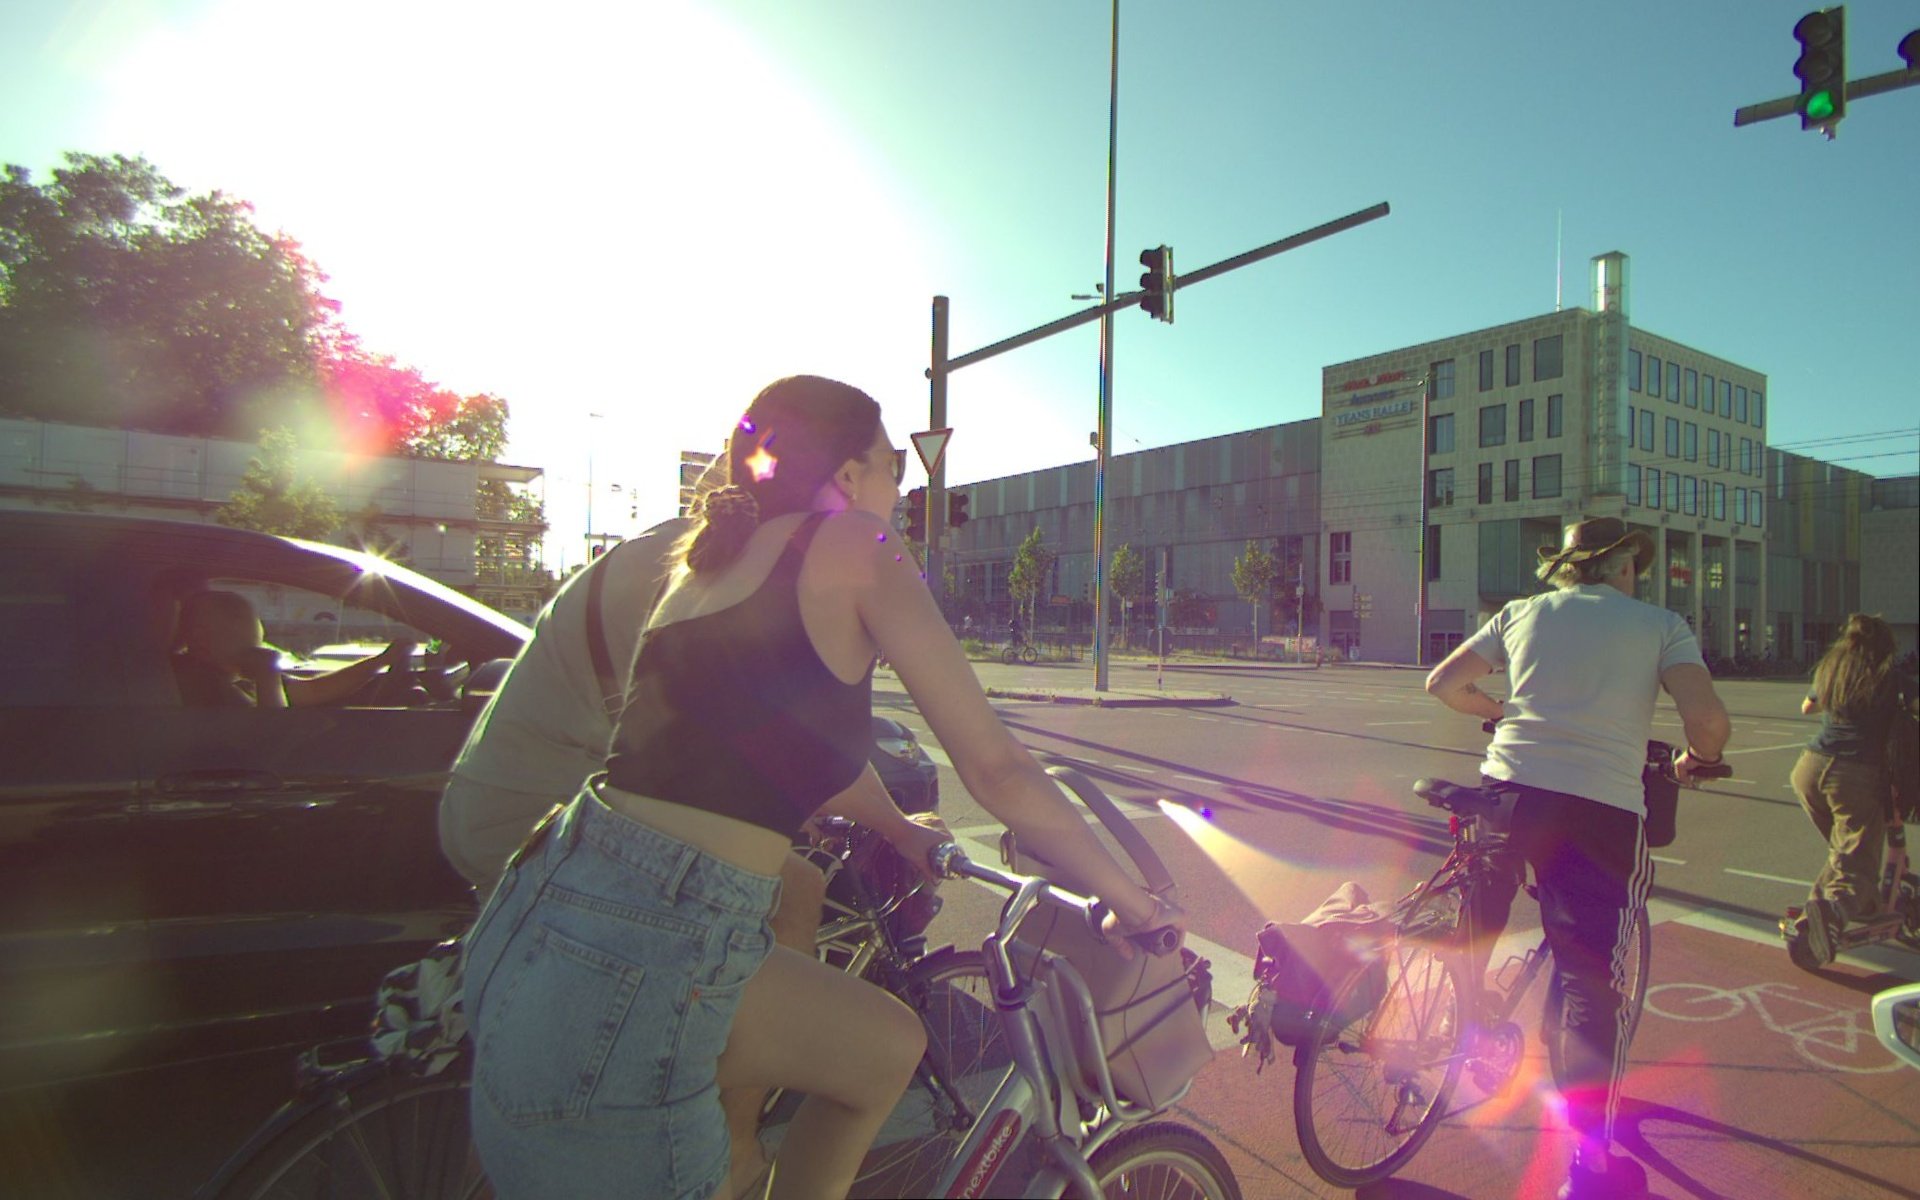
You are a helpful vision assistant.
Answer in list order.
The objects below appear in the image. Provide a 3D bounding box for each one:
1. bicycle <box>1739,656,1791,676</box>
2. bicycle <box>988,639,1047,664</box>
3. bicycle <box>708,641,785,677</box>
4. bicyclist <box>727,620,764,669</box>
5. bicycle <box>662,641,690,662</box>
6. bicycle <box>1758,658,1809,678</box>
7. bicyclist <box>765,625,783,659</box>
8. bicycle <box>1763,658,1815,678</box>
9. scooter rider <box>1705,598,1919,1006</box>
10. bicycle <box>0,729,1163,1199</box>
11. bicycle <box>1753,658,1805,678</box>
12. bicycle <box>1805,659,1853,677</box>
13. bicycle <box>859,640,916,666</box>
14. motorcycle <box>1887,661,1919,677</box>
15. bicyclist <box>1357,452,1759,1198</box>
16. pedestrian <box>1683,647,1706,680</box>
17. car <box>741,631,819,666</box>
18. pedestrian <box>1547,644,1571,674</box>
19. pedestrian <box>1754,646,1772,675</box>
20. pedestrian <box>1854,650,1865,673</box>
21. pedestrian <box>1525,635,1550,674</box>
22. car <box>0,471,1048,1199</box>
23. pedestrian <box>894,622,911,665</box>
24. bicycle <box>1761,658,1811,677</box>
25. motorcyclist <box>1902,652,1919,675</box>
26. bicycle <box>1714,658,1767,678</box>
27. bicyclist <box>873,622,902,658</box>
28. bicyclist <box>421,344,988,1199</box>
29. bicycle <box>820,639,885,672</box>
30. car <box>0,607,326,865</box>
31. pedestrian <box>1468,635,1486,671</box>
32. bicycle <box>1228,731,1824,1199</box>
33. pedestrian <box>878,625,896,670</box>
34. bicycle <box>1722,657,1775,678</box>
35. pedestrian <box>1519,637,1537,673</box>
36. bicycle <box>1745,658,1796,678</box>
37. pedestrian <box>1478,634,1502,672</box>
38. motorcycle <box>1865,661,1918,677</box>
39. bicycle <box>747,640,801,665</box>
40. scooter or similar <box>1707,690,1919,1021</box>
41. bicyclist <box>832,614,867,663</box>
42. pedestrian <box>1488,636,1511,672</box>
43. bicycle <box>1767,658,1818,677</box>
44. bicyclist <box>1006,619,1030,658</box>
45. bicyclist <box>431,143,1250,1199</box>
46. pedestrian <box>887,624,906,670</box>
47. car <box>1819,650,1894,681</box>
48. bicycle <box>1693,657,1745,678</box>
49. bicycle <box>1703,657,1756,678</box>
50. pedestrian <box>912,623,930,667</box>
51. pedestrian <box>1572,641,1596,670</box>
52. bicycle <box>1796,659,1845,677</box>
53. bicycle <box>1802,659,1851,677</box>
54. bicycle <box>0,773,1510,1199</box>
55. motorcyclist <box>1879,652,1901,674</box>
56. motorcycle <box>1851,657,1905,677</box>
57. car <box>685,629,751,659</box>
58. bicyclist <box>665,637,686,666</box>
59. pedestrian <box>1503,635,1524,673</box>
[{"bbox_3d":[49.289,4.054,61.541,0.675,1.125,2.458,2,-2,-28],"label":"bicycle"},{"bbox_3d":[2.290,2.043,39.821,2.370,0.953,0.749,2,-2,-34],"label":"bicycle"},{"bbox_3d":[-6.259,1.728,29.497,2.053,0.991,0.799,1,-1,-31],"label":"bicycle"},{"bbox_3d":[-6.296,1.295,29.494,0.833,1.420,0.799,1,-1,-31],"label":"bicyclist"},{"bbox_3d":[-13.223,2.384,46.710,0.796,0.939,2.061,1,-1,-29],"label":"bicycle"},{"bbox_3d":[52.148,4.293,63.636,0.675,1.125,2.458,2,-2,-28],"label":"bicycle"},{"bbox_3d":[-7.197,1.605,38.772,0.627,1.287,0.803,1,-1,-14],"label":"bicyclist"},{"bbox_3d":[52.858,4.324,64.071,0.824,1.125,2.458,2,-2,-28],"label":"bicycle"},{"bbox_3d":[3.912,0.792,4.428,1.105,1.564,0.638,2,-1,-33],"label":"scooter rider"},{"bbox_3d":[-0.507,0.871,1.896,1.795,1.131,0.620,2,-2,-31],"label":"bicycle"},{"bbox_3d":[51.517,4.272,63.193,0.675,1.125,2.458,2,-2,-28],"label":"bicycle"},{"bbox_3d":[59.209,4.626,68.453,0.623,1.125,2.458,2,-2,-28],"label":"bicycle"},{"bbox_3d":[-2.800,2.042,38.668,2.052,0.939,0.799,1,-1,-30],"label":"bicycle"},{"bbox_3d":[69.695,5.053,73.454,0.908,1.009,2.649,2,0,-36],"label":"motorcycle"},{"bbox_3d":[1.652,0.524,2.796,0.778,1.691,0.695,2,-2,-33],"label":"bicyclist"},{"bbox_3d":[39.792,3.439,54.425,0.748,1.763,0.746,2,-1,-32],"label":"pedestrian"},{"bbox_3d":[-7.979,2.085,44.221,1.979,1.394,3.962,1,-1,-34],"label":"car"},{"bbox_3d":[34.317,3.384,57.554,0.987,1.672,0.949,1,-1,16],"label":"pedestrian"},{"bbox_3d":[56.033,4.225,70.117,0.933,2.008,1.004,1,-1,36],"label":"pedestrian"},{"bbox_3d":[79.056,5.399,88.283,0.475,2.040,0.610,2,0,-44],"label":"pedestrian"},{"bbox_3d":[32.908,3.110,57.269,1.042,2.157,1.098,1,-1,19],"label":"pedestrian"},{"bbox_3d":[-2.240,0.585,3.506,4.740,1.684,2.182,2,-2,-33],"label":"car"},{"bbox_3d":[-2.120,1.593,36.959,0.446,1.587,0.516,1,-1,-30],"label":"pedestrian"},{"bbox_3d":[53.406,4.361,64.997,0.675,1.125,2.458,2,-2,-28],"label":"bicycle"},{"bbox_3d":[69.733,4.622,73.441,0.908,1.596,1.129,2,0,-36],"label":"motorcyclist"},{"bbox_3d":[46.954,4.067,60.458,0.675,1.125,2.459,2,-2,-27],"label":"bicycle"},{"bbox_3d":[-2.802,1.539,38.674,0.831,1.374,0.799,1,-1,-29],"label":"bicyclist"},{"bbox_3d":[-0.495,0.450,1.917,0.884,1.595,0.620,2,-2,-31],"label":"bicyclist"},{"bbox_3d":[-3.446,1.763,32.236,1.952,1.010,0.645,1,-1,-27],"label":"bicycle"},{"bbox_3d":[-6.322,0.717,5.741,4.475,1.370,1.762,2,-1,-32],"label":"car"},{"bbox_3d":[31.170,3.185,60.549,0.883,2.152,0.944,0,-2,34],"label":"pedestrian"},{"bbox_3d":[1.627,0.987,2.780,1.781,1.108,0.702,2,-2,-33],"label":"bicycle"},{"bbox_3d":[-2.593,1.679,35.762,0.446,1.587,0.516,1,-1,-30],"label":"pedestrian"},{"bbox_3d":[47.689,4.082,60.779,0.675,1.125,2.458,2,-2,-28],"label":"bicycle"},{"bbox_3d":[33.207,3.207,58.738,0.900,2.040,1.022,1,-2,28],"label":"pedestrian"},{"bbox_3d":[50.477,4.226,62.573,0.586,1.125,2.458,2,-2,-28],"label":"bicycle"},{"bbox_3d":[31.136,3.106,58.996,0.936,2.152,0.890,2,-2,-32],"label":"pedestrian"},{"bbox_3d":[66.667,4.921,71.895,0.908,1.009,2.649,2,0,-36],"label":"motorcycle"},{"bbox_3d":[-7.182,2.012,38.761,2.042,0.939,0.803,1,-1,-14],"label":"bicycle"},{"bbox_3d":[4.063,1.041,4.522,1.468,1.191,0.638,2,-1,-33],"label":"scooter or similar"},{"bbox_3d":[-3.543,1.234,32.200,0.929,1.565,0.645,1,-1,-26],"label":"bicyclist"},{"bbox_3d":[32.128,3.215,59.835,0.939,2.152,0.888,2,-2,-41],"label":"pedestrian"},{"bbox_3d":[54.427,4.407,65.704,0.824,1.125,2.458,2,-2,-28],"label":"bicycle"},{"bbox_3d":[2.282,1.530,39.818,0.611,1.525,0.749,2,-2,-34],"label":"bicyclist"},{"bbox_3d":[-0.179,0.436,1.278,0.837,1.563,0.647,2,-2,-30],"label":"bicyclist"},{"bbox_3d":[-2.227,1.649,35.258,0.446,1.587,0.516,1,-1,-30],"label":"pedestrian"},{"bbox_3d":[48.754,3.528,54.610,4.246,1.601,1.927,2,-2,-32],"label":"car"},{"bbox_3d":[44.634,3.982,59.121,0.650,1.127,2.392,2,-2,-29],"label":"bicycle"},{"bbox_3d":[45.770,4.014,59.814,0.676,1.125,2.457,2,-2,-28],"label":"bicycle"},{"bbox_3d":[-1.400,1.624,36.322,0.446,1.587,0.516,1,-1,-30],"label":"pedestrian"},{"bbox_3d":[34.450,3.049,55.479,0.927,1.592,0.842,1,-1,18],"label":"pedestrian"},{"bbox_3d":[57.992,4.559,67.733,0.652,1.125,2.458,2,-2,-28],"label":"bicycle"},{"bbox_3d":[58.642,4.591,68.032,0.652,1.125,2.458,2,-2,-28],"label":"bicycle"},{"bbox_3d":[-0.097,0.879,1.328,1.780,1.108,0.647,2,-2,-31],"label":"bicycle"},{"bbox_3d":[66.624,4.516,71.956,0.908,1.490,1.029,2,0,-36],"label":"motorcyclist"},{"bbox_3d":[64.633,4.720,70.756,0.908,1.233,2.649,2,0,-36],"label":"motorcycle"},{"bbox_3d":[-12.043,2.144,49.858,1.979,1.394,3.962,1,-1,-34],"label":"car"},{"bbox_3d":[-13.229,2.384,46.718,0.796,1.315,0.770,1,-1,-29],"label":"bicyclist"},{"bbox_3d":[31.660,3.089,57.472,0.881,2.152,0.947,1,-1,21],"label":"pedestrian"}]
